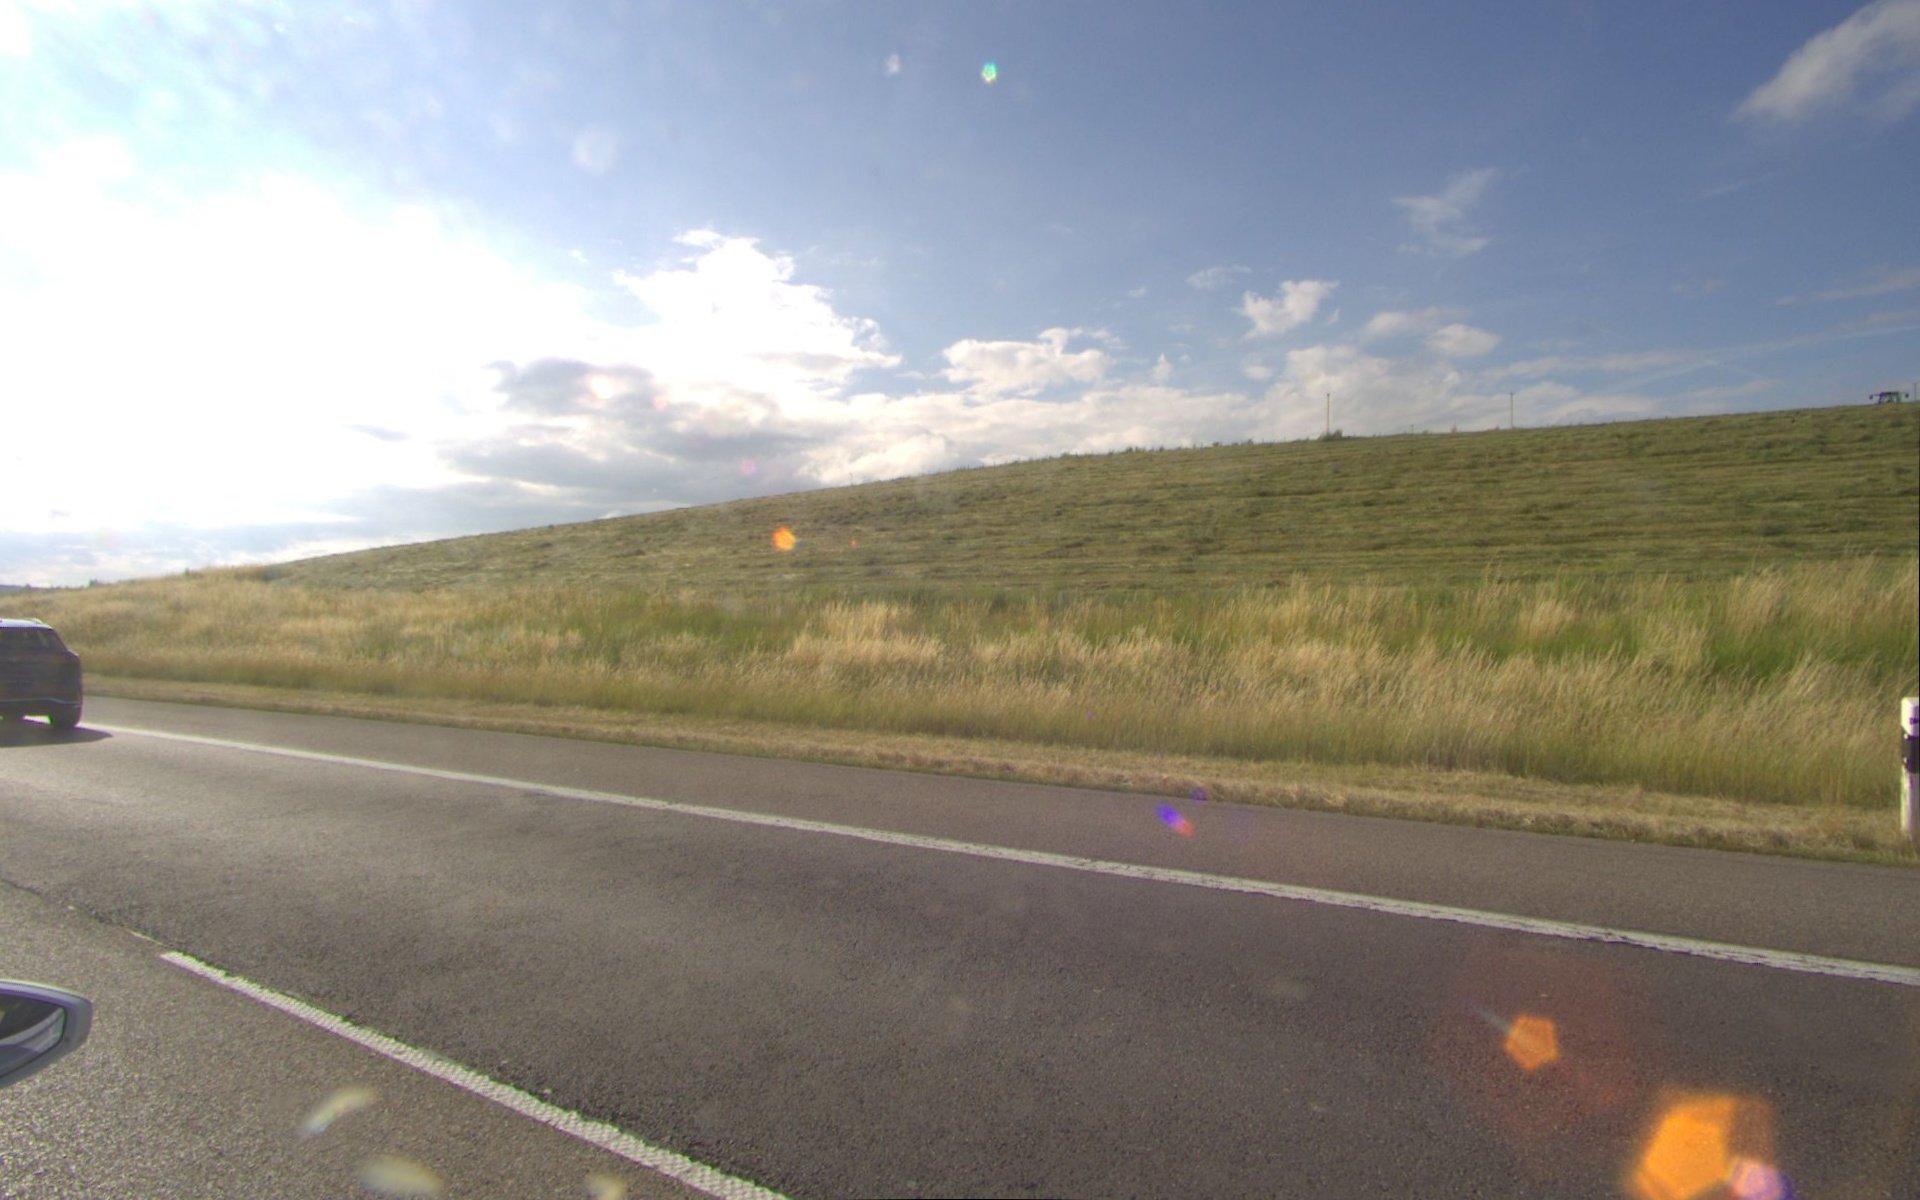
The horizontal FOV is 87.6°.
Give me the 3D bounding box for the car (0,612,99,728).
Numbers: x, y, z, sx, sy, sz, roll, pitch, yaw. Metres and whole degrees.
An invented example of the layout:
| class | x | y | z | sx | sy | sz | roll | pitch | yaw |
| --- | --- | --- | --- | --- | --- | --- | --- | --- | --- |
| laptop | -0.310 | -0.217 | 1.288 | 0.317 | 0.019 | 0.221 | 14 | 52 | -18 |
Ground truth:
| class | x | y | z | sx | sy | sz | roll | pitch | yaw |
| --- | --- | --- | --- | --- | --- | --- | --- | --- | --- |
| car | -15.064 | 1.035 | 15.366 | 4.178 | 1.621 | 1.817 | -1 | -3 | 35 |
